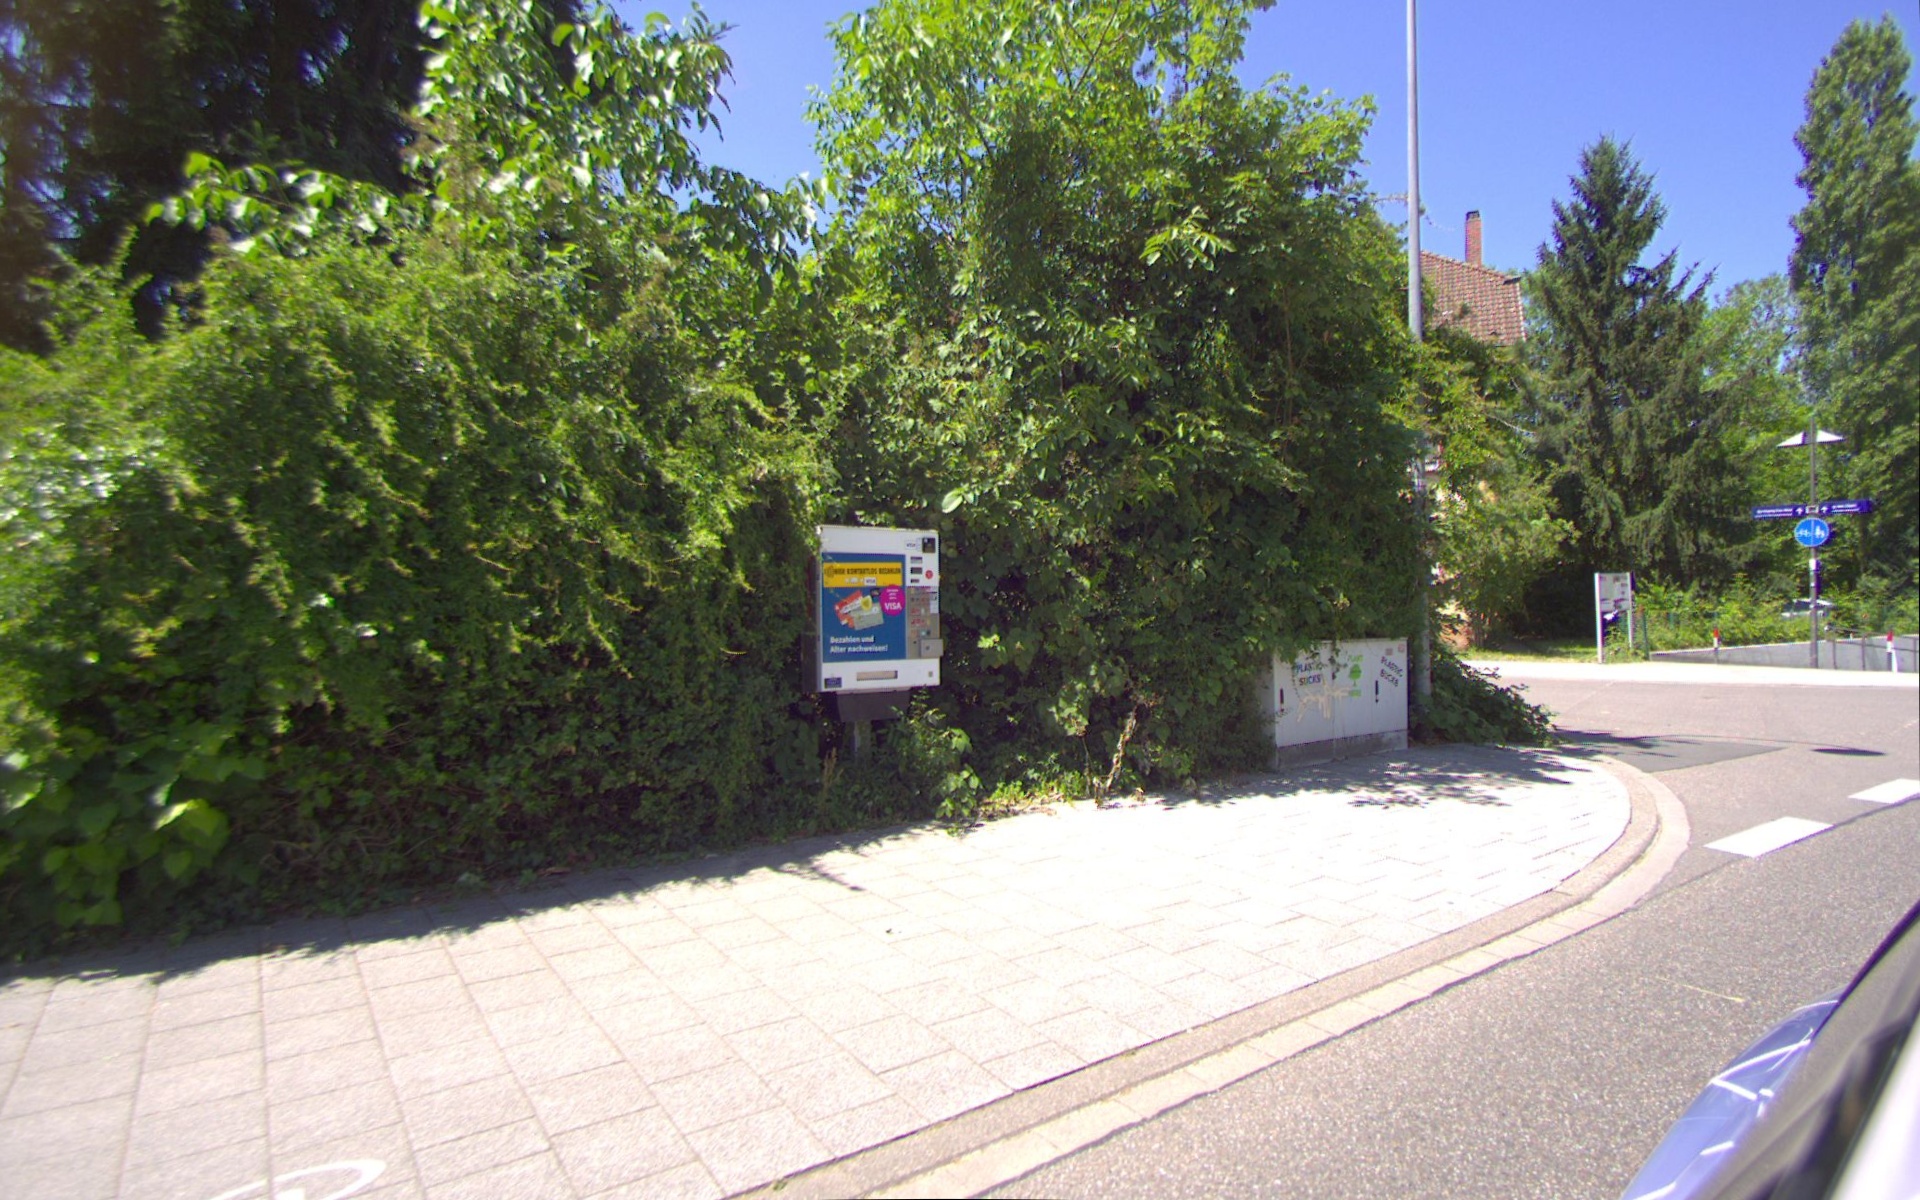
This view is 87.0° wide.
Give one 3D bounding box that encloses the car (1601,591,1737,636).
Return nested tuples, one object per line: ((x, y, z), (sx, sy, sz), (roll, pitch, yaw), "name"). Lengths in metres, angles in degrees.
((25.711, 0.483, 36.880), (3.938, 1.555, 1.637), (0, 0, 32), "car")

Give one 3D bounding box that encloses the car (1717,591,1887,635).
((30.659, 0.465, 37.030), (4.457, 1.519, 1.753), (0, 0, 28), "car")
